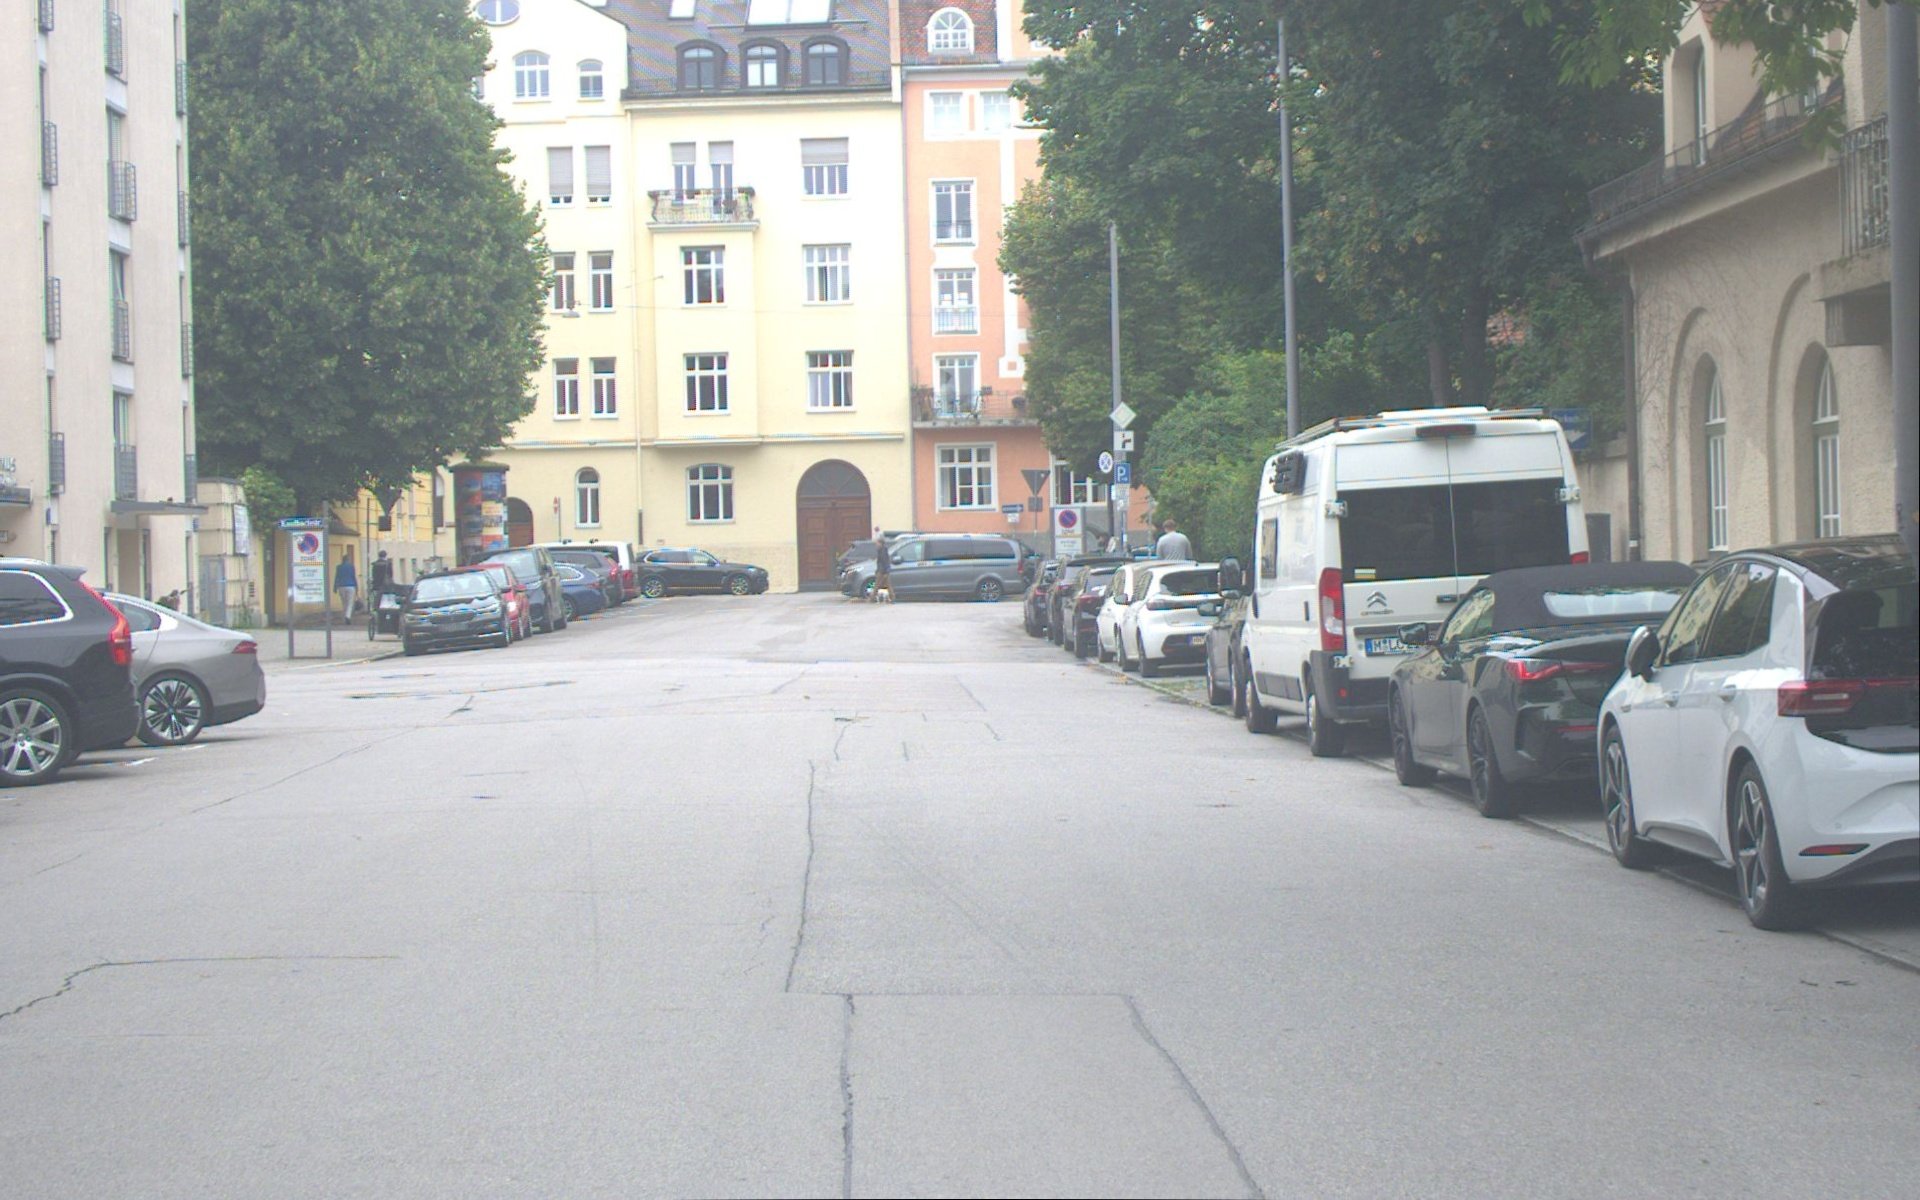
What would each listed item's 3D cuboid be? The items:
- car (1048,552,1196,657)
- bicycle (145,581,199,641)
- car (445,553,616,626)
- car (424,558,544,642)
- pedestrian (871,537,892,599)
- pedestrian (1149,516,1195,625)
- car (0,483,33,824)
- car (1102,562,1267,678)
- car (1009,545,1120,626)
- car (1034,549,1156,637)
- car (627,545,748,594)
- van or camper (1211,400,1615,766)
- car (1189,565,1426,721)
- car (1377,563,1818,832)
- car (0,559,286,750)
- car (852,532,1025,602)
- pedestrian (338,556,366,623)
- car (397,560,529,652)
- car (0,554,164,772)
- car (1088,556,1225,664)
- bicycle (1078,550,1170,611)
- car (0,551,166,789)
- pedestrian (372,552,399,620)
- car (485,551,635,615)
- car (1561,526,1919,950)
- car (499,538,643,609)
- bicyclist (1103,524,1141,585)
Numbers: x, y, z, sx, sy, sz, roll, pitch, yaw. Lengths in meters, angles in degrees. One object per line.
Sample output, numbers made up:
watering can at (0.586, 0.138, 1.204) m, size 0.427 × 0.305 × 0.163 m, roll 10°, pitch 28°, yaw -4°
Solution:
car at (2.566, 0.046, 55.312) m, size 1.803 × 1.461 × 3.838 m, roll -3°, pitch 2°, yaw -5°
bicycle at (-15.565, 0.203, 67.921) m, size 0.637 × 1.145 × 2.425 m, roll 0°, pitch 1°, yaw -4°
car at (-10.673, -0.280, 85.612) m, size 3.987 × 1.503 × 1.840 m, roll -4°, pitch 1°, yaw -1°
car at (-9.574, -0.021, 69.438) m, size 1.834 × 1.503 × 4.000 m, roll -4°, pitch 1°, yaw -1°
pedestrian at (-2.092, -0.855, 91.817) m, size 0.463 × 1.651 × 0.573 m, roll -1°, pitch 1°, yaw -7°
pedestrian at (3.951, -0.546, 64.086) m, size 0.773 × 2.007 × 0.563 m, roll -1°, pitch 1°, yaw -2°
car at (-7.932, 0.429, 20.569) m, size 4.204 × 2.059 × 1.737 m, roll -3°, pitch 1°, yaw -30°
car at (2.964, 0.232, 46.083) m, size 1.707 × 1.403 × 4.130 m, roll -3°, pitch 1°, yaw -2°
car at (1.971, -0.296, 65.658) m, size 1.670 × 1.339 × 3.838 m, roll -3°, pitch 2°, yaw -4°
car at (2.351, -0.141, 60.744) m, size 1.670 × 1.339 × 3.838 m, roll -3°, pitch 2°, yaw -4°
car at (-9.365, -1.058, 118.156) m, size 3.987 × 1.581 × 1.703 m, roll -1°, pitch 1°, yaw 0°
van or camper at (3.487, -0.165, 27.722) m, size 2.192 × 2.541 × 5.729 m, roll -3°, pitch 1°, yaw -2°
car at (3.382, 0.377, 34.135) m, size 1.707 × 1.364 × 4.130 m, roll -3°, pitch 1°, yaw -2°
car at (3.727, 0.506, 20.867) m, size 1.707 × 1.364 × 4.441 m, roll -3°, pitch 1°, yaw -1°
car at (-8.560, 0.521, 31.927) m, size 4.107 × 1.604 × 1.737 m, roll -3°, pitch 1°, yaw -33°
car at (-0.618, -0.913, 95.802) m, size 4.703 × 1.874 × 1.840 m, roll -1°, pitch 1°, yaw -3°
pedestrian at (-15.006, -0.261, 84.858) m, size 0.571 × 1.651 × 0.465 m, roll -1°, pitch 1°, yaw -1°
car at (-9.141, 0.083, 63.491) m, size 1.834 × 1.503 × 4.000 m, roll -4°, pitch 1°, yaw -1°
car at (-8.817, 0.576, 28.085) m, size 4.106 × 1.702 × 1.737 m, roll -3°, pitch 1°, yaw -31°
car at (2.872, 0.117, 51.024) m, size 1.707 × 1.461 × 3.838 m, roll -3°, pitch 1°, yaw -1°
bicycle at (4.116, -0.500, 86.482) m, size 2.216 × 1.505 × 0.655 m, roll -1°, pitch 1°, yaw -18°
car at (-8.253, 0.590, 25.712) m, size 4.106 × 1.702 × 1.737 m, roll -3°, pitch 1°, yaw -31°
pedestrian at (-14.169, -0.346, 84.814) m, size 0.571 × 1.651 × 0.465 m, roll -1°, pitch 1°, yaw -1°
car at (-11.322, -0.489, 97.564) m, size 3.987 × 1.503 × 1.840 m, roll -4°, pitch 1°, yaw -1°
car at (3.929, 0.475, 15.074) m, size 1.707 × 1.532 × 4.240 m, roll -3°, pitch 1°, yaw -1°
car at (-11.567, -0.795, 102.347) m, size 3.987 × 1.793 × 1.840 m, roll -4°, pitch 1°, yaw -1°
bicyclist at (4.078, -1.143, 86.464) m, size 0.766 × 1.505 × 0.655 m, roll -1°, pitch 1°, yaw -18°
